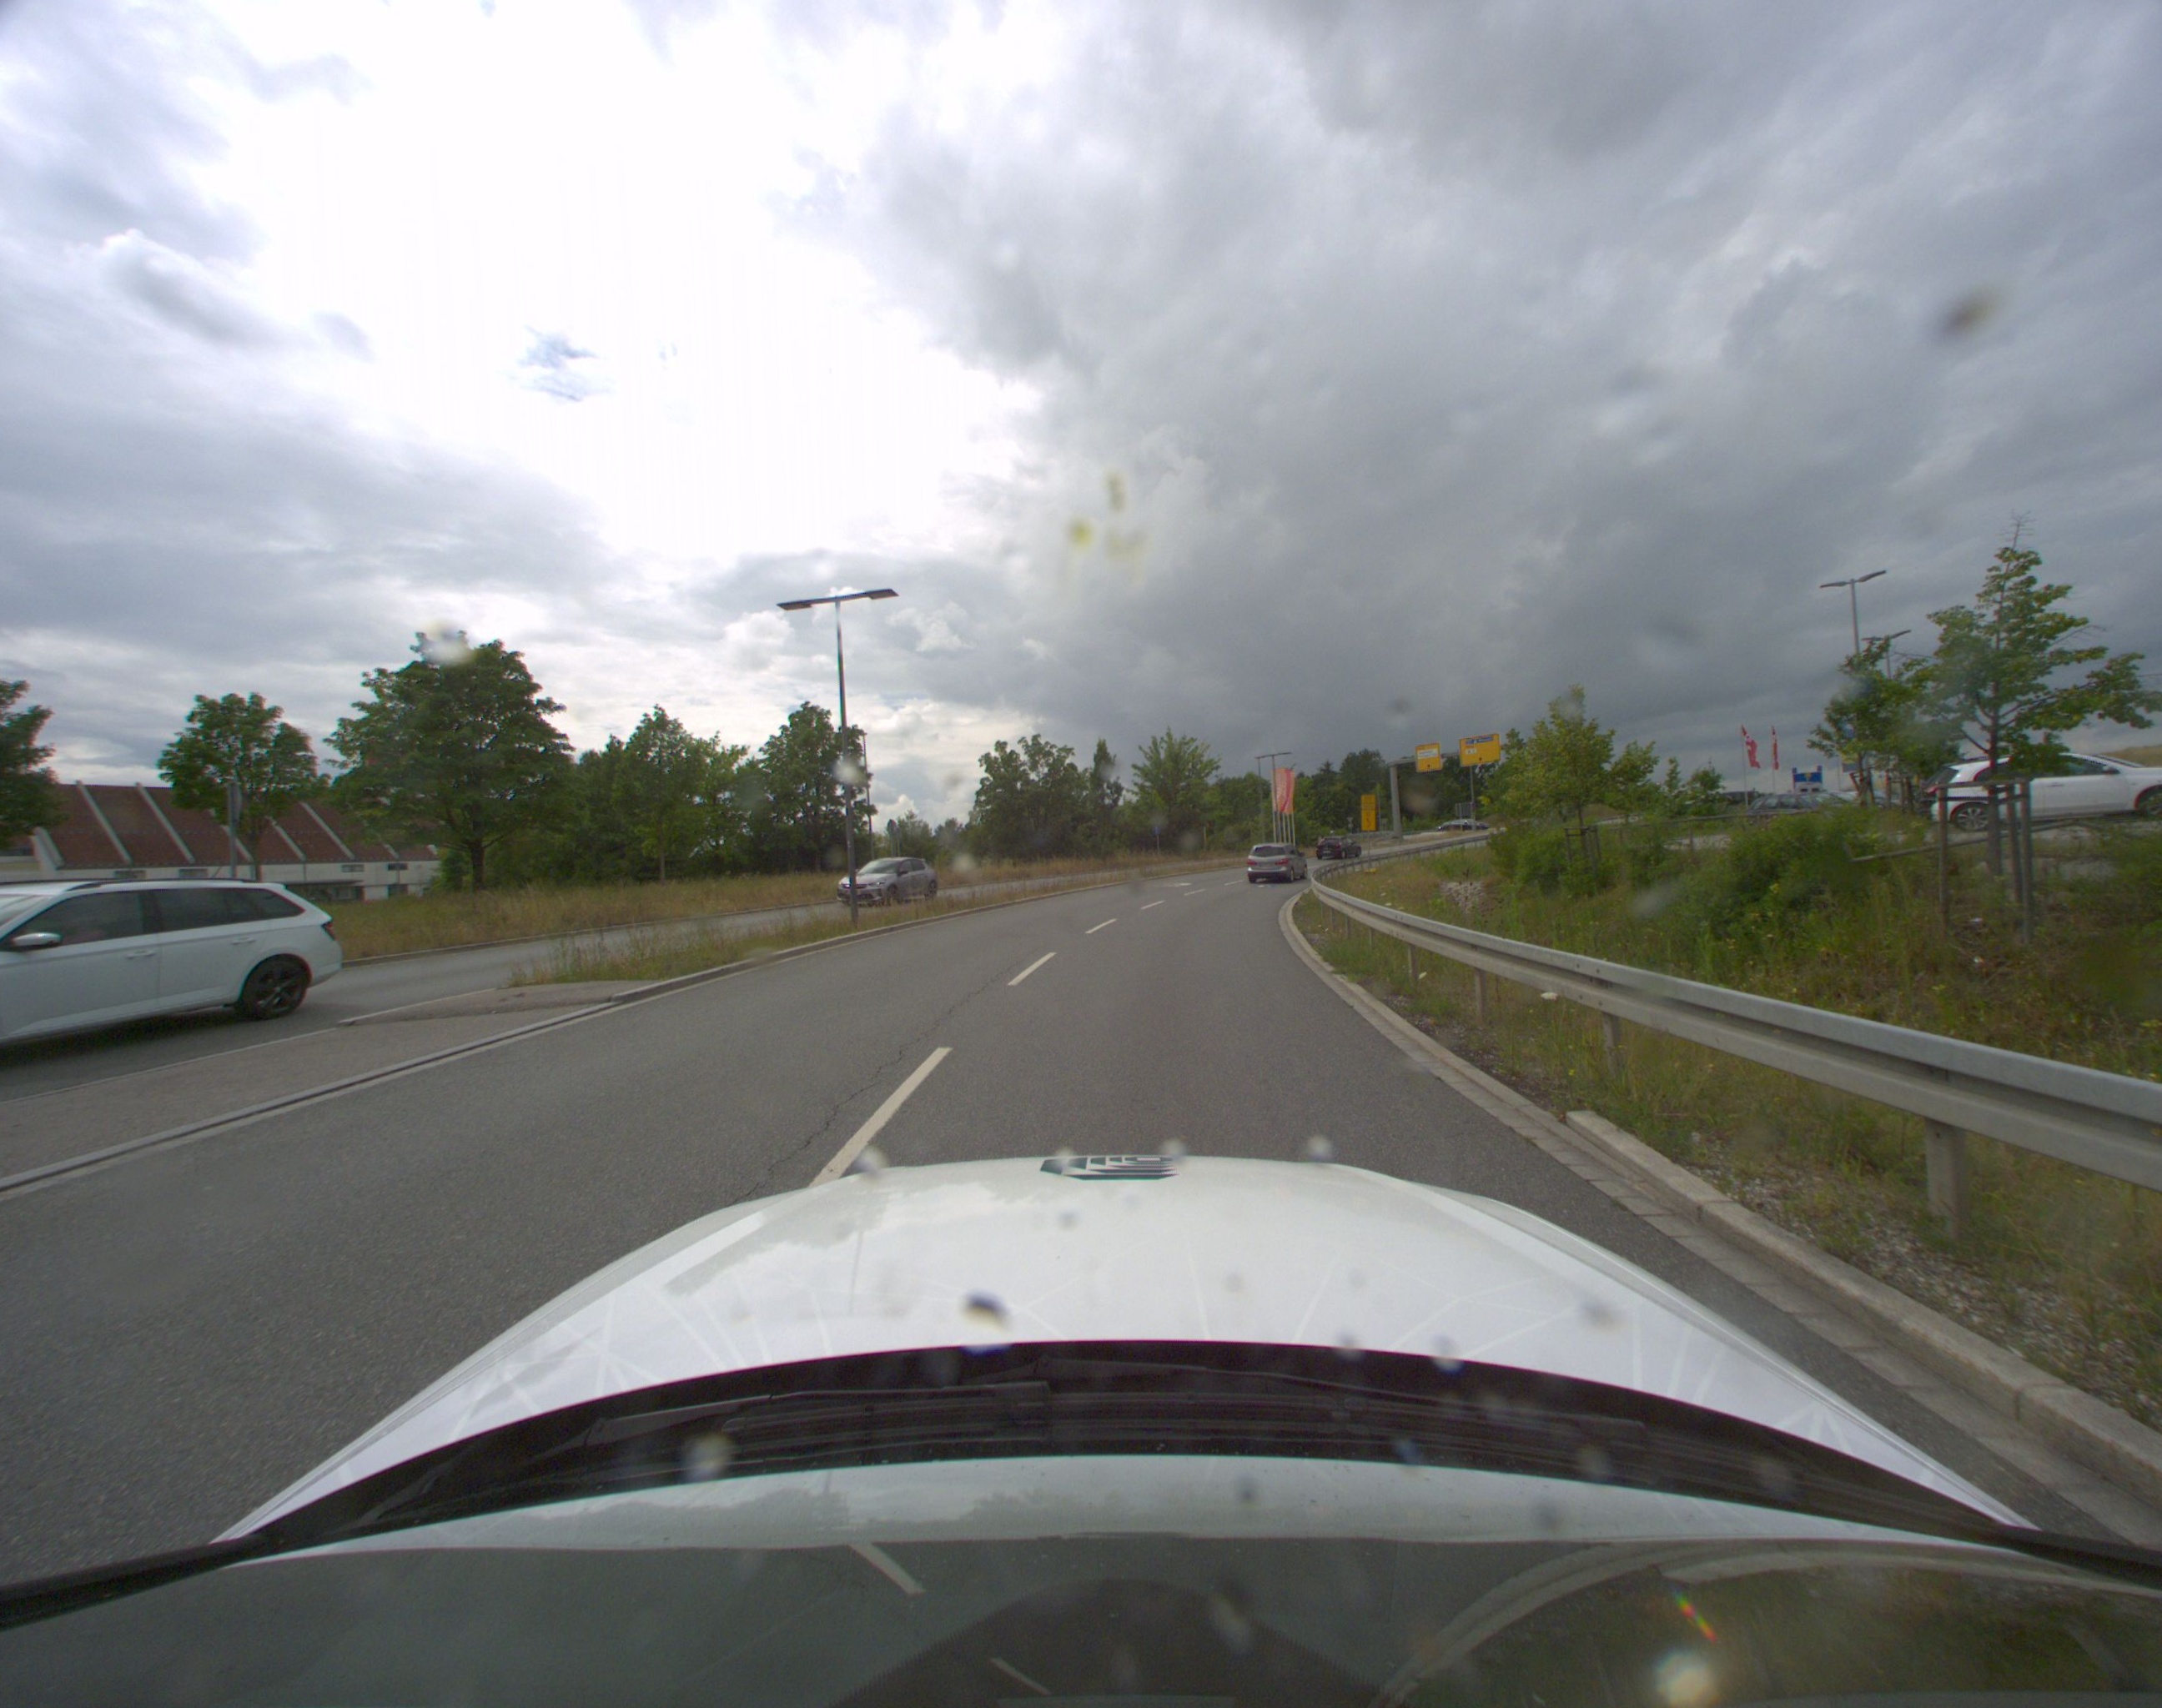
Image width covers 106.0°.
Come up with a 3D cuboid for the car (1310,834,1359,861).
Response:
[{"bbox_3d":[16.203,-0.441,51.931,1.851,1.605,3.759,-3,0,36],"label":"car"}]

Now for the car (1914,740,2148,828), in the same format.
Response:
[{"bbox_3d":[22.046,-1.561,19.059,1.741,1.635,3.405,-3,0,-40],"label":"car"}]

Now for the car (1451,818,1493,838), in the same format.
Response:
[{"bbox_3d":[40.623,-2.653,84.712,1.893,1.783,4.149,-4,0,-6],"label":"car"}]

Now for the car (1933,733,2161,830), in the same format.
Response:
[{"bbox_3d":[20.304,-1.475,16.817,1.653,1.538,3.584,-4,-2,-41],"label":"car"}]

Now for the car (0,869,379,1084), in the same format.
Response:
[{"bbox_3d":[-9.291,1.009,7.507,1.707,1.634,4.273,-1,0,5],"label":"car"}]

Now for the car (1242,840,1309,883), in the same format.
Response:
[{"bbox_3d":[8.141,0.265,33.782,1.751,1.616,3.945,-3,0,27],"label":"car"}]

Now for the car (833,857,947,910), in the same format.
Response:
[{"bbox_3d":[-6.021,0.884,26.123,1.446,1.486,4.117,-2,-1,21],"label":"car"}]
